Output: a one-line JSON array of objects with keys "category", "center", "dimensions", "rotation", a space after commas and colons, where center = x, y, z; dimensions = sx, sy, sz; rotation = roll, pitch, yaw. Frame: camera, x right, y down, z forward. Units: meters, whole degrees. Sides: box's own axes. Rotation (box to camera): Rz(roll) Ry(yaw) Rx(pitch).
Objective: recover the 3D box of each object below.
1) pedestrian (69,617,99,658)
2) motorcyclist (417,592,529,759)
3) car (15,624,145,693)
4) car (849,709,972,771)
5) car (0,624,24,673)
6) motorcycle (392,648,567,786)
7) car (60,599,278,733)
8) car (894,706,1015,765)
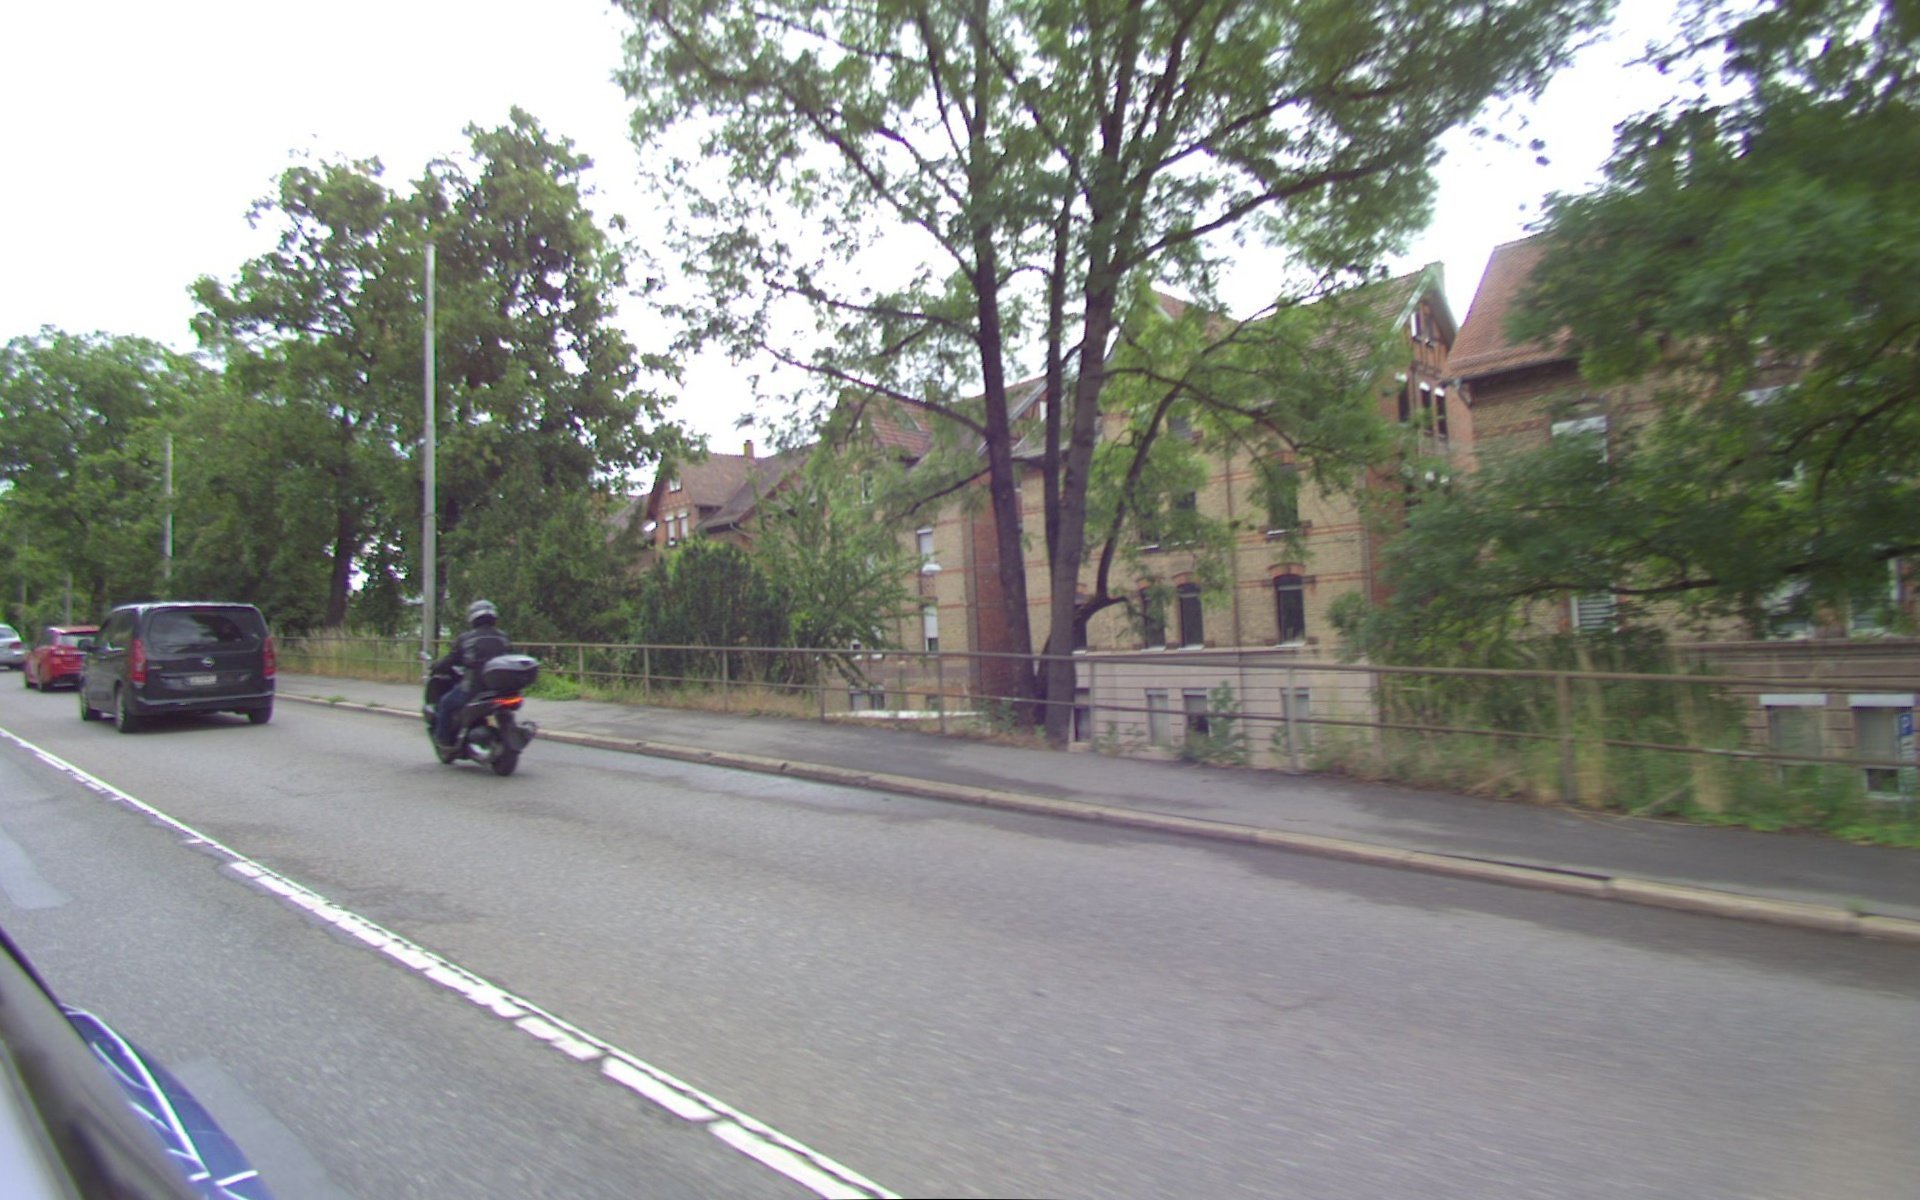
[{"category": "pedestrian", "center": [-39.890, 1.704, 46.071], "dimensions": [1.208, 1.787, 0.781], "rotation": [-2, 1, 40]}, {"category": "motorcyclist", "center": [-4.710, 0.702, 9.806], "dimensions": [0.668, 1.528, 0.776], "rotation": [-2, -2, 41]}, {"category": "car", "center": [-20.796, 1.316, 23.861], "dimensions": [4.427, 1.470, 1.765], "rotation": [-2, -2, 42]}, {"category": "car", "center": [-1.619, 4.370, 32.000], "dimensions": [1.772, 1.522, 4.005], "rotation": [0, -2, -41]}, {"category": "car", "center": [-33.414, 1.637, 34.505], "dimensions": [4.279, 1.586, 1.765], "rotation": [-2, -2, 42]}, {"category": "motorcycle", "center": [-4.664, 1.063, 9.757], "dimensions": [2.056, 1.154, 0.776], "rotation": [-2, -2, 42]}, {"category": "car", "center": [-12.099, 0.918, 15.370], "dimensions": [4.425, 1.759, 1.765], "rotation": [-1, -2, 41]}, {"category": "car", "center": [-0.234, 4.379, 33.262], "dimensions": [1.772, 1.522, 4.005], "rotation": [0, -2, -41]}]
